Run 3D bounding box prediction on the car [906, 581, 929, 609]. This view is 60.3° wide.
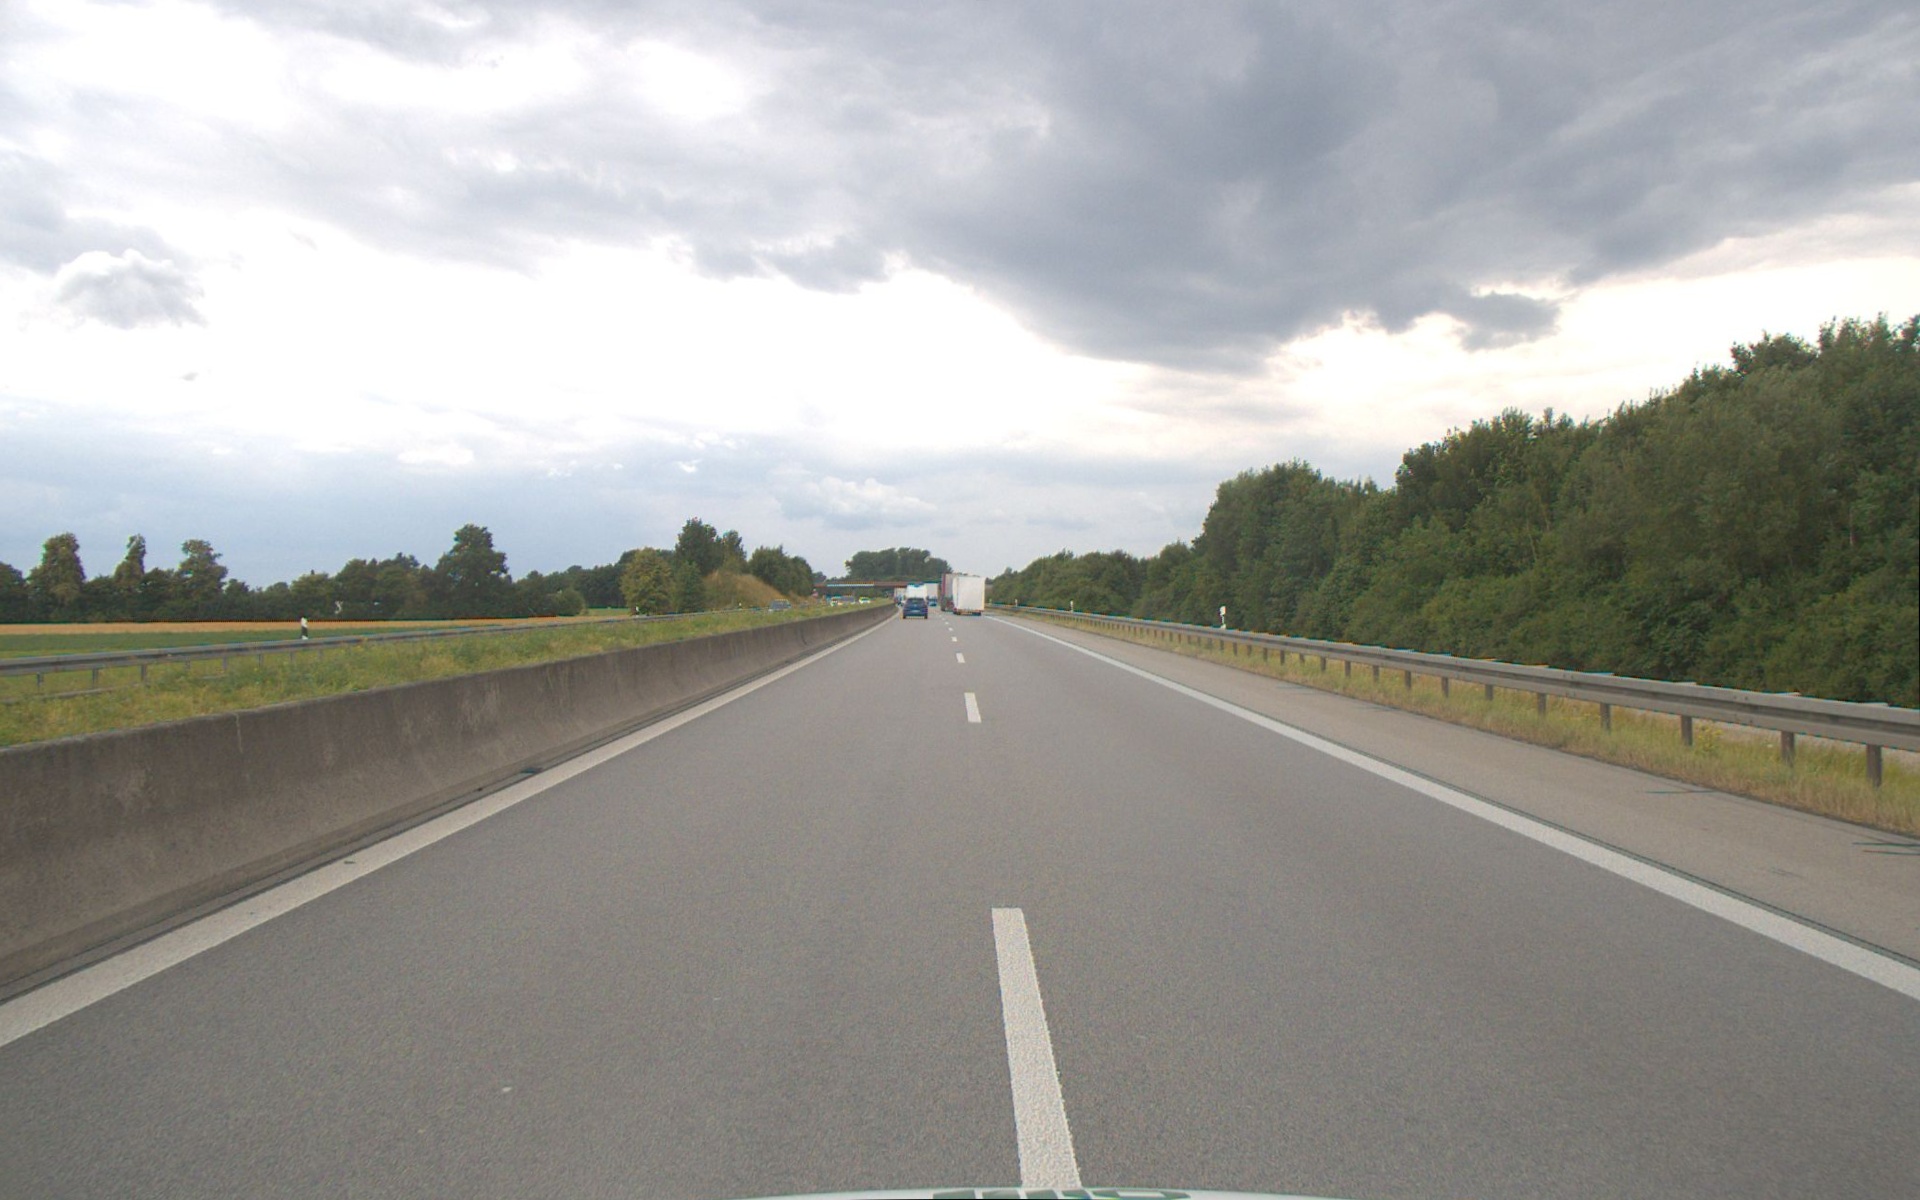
[{"bbox_3d":[-3.922,-0.457,154.009,2.087,2.526,5.838,0,0,-1],"label":"car"}]

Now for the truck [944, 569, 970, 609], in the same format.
[{"bbox_3d":[-0.293,-1.136,175.566,2.618,4.116,11.107,-1,0,0],"label":"truck"}]

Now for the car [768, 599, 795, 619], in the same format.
[{"bbox_3d":[-14.271,0.675,132.587,1.711,1.513,4.528,-2,0,-1],"label":"car"}]

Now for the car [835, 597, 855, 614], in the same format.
[{"bbox_3d":[-12.131,0.580,174.534,1.804,1.724,4.356,-2,0,-2],"label":"car"}]

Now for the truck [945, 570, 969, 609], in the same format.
[{"bbox_3d":[-0.312,-1.172,181.025,2.618,4.116,5.512,-1,0,0],"label":"truck"}]

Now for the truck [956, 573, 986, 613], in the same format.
[{"bbox_3d":[0.892,-0.548,138.672,2.366,3.278,7.142,0,0,-1],"label":"truck"}]

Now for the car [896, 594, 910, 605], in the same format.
[{"bbox_3d":[-9.007,-0.056,259.612,1.955,1.713,3.995,0,0,-6],"label":"car"}]

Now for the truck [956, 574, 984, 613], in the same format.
[{"bbox_3d":[0.830,-0.536,145.864,2.380,3.300,7.246,0,0,0],"label":"truck"}]

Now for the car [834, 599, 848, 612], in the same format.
[{"bbox_3d":[-16.412,0.739,228.205,1.799,1.655,4.689,-2,0,-2],"label":"car"}]

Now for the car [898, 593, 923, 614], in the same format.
[{"bbox_3d":[-3.371,0.218,111.757,1.630,1.432,3.646,0,0,-3],"label":"car"}]
